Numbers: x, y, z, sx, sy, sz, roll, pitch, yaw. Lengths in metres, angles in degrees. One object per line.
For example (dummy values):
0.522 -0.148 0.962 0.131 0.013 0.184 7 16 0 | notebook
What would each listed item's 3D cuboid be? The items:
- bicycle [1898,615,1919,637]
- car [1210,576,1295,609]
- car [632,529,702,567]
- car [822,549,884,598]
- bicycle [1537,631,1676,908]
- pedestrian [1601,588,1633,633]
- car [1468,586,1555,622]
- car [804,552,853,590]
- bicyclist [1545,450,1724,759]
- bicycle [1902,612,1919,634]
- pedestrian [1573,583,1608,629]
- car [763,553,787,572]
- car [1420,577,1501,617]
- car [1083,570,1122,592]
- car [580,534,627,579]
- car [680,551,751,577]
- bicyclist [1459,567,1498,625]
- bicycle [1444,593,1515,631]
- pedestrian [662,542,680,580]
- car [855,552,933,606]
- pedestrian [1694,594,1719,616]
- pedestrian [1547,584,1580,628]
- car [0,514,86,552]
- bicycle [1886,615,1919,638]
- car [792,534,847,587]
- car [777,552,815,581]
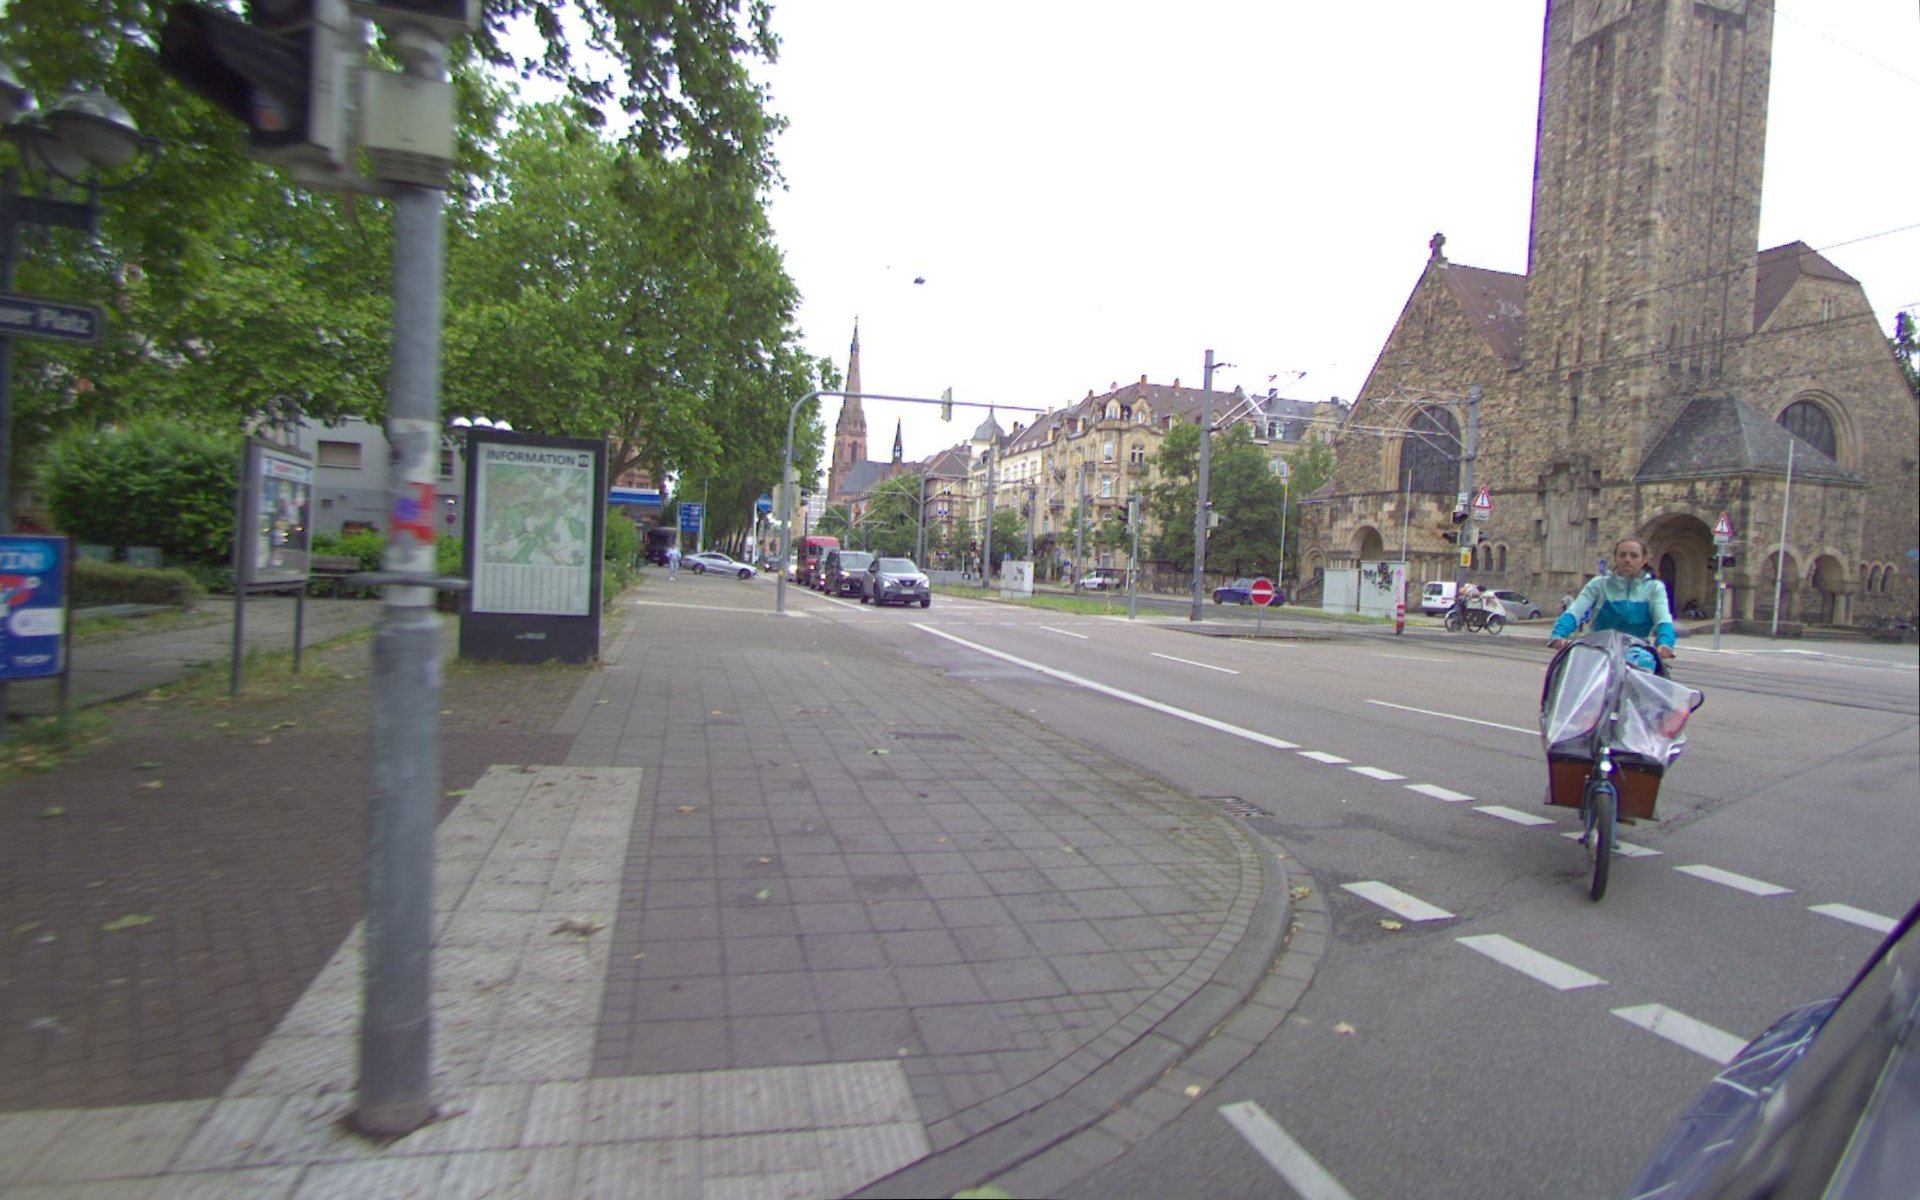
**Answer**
49.800 1.348 52.679 0.304 1.073 1.387 2 2 -18 | bicycle
14.889 -0.414 51.726 1.783 1.422 4.330 2 2 -22 | car
-23.091 -4.071 80.246 2.212 2.761 7.083 2 2 12 | car
-4.252 -1.078 39.724 1.651 1.732 3.960 2 2 -17 | car
3.599 0.800 5.584 0.492 1.111 2.112 4 3 34 | bicycle
25.912 0.405 39.930 0.952 1.705 0.676 2 4 -40 | pedestrian
26.636 0.181 48.931 3.394 1.549 1.622 2 2 -14 | car
-6.089 -1.370 46.576 1.651 1.580 3.476 2 2 -17 | car
3.760 0.001 5.649 0.684 1.536 1.045 4 2 35 | bicyclist
50.305 1.227 52.985 0.304 1.073 1.387 2 2 -18 | bicycle
25.784 0.246 41.398 0.952 1.779 0.806 2 4 -40 | pedestrian
-16.154 -3.303 88.319 1.651 1.549 3.476 2 2 -17 | car
25.877 -0.164 52.353 3.394 1.815 1.691 2 2 -14 | car
11.371 -1.525 80.943 1.651 1.549 3.476 2 2 -17 | car
-18.286 -2.278 52.123 1.950 2.121 5.101 2 2 -17 | car
-14.734 -2.178 60.883 4.011 1.389 1.739 2 2 -16 | car
15.431 -0.126 30.123 0.738 1.674 0.617 2 2 -18 | bicyclist
15.390 0.358 29.982 2.017 1.008 0.554 2 2 -17 | bicycle
-12.368 -1.679 43.361 0.695 1.590 0.573 2 2 -16 | pedestrian
-2.232 -0.733 33.358 1.651 1.580 4.000 2 2 -17 | car
35.297 0.233 47.843 0.602 0.963 0.675 2 2 -18 | pedestrian
24.518 0.236 41.109 0.950 1.693 0.636 2 4 -33 | pedestrian
-42.750 -3.100 47.258 1.481 1.642 3.824 2 2 -17 | car
49.063 1.353 52.592 0.304 1.073 1.387 2 2 -18 | bicycle
-7.397 -2.105 52.863 1.950 2.569 5.626 2 2 -17 | car
-9.723 -1.992 59.895 1.651 1.549 4.160 2 2 -17 | car
